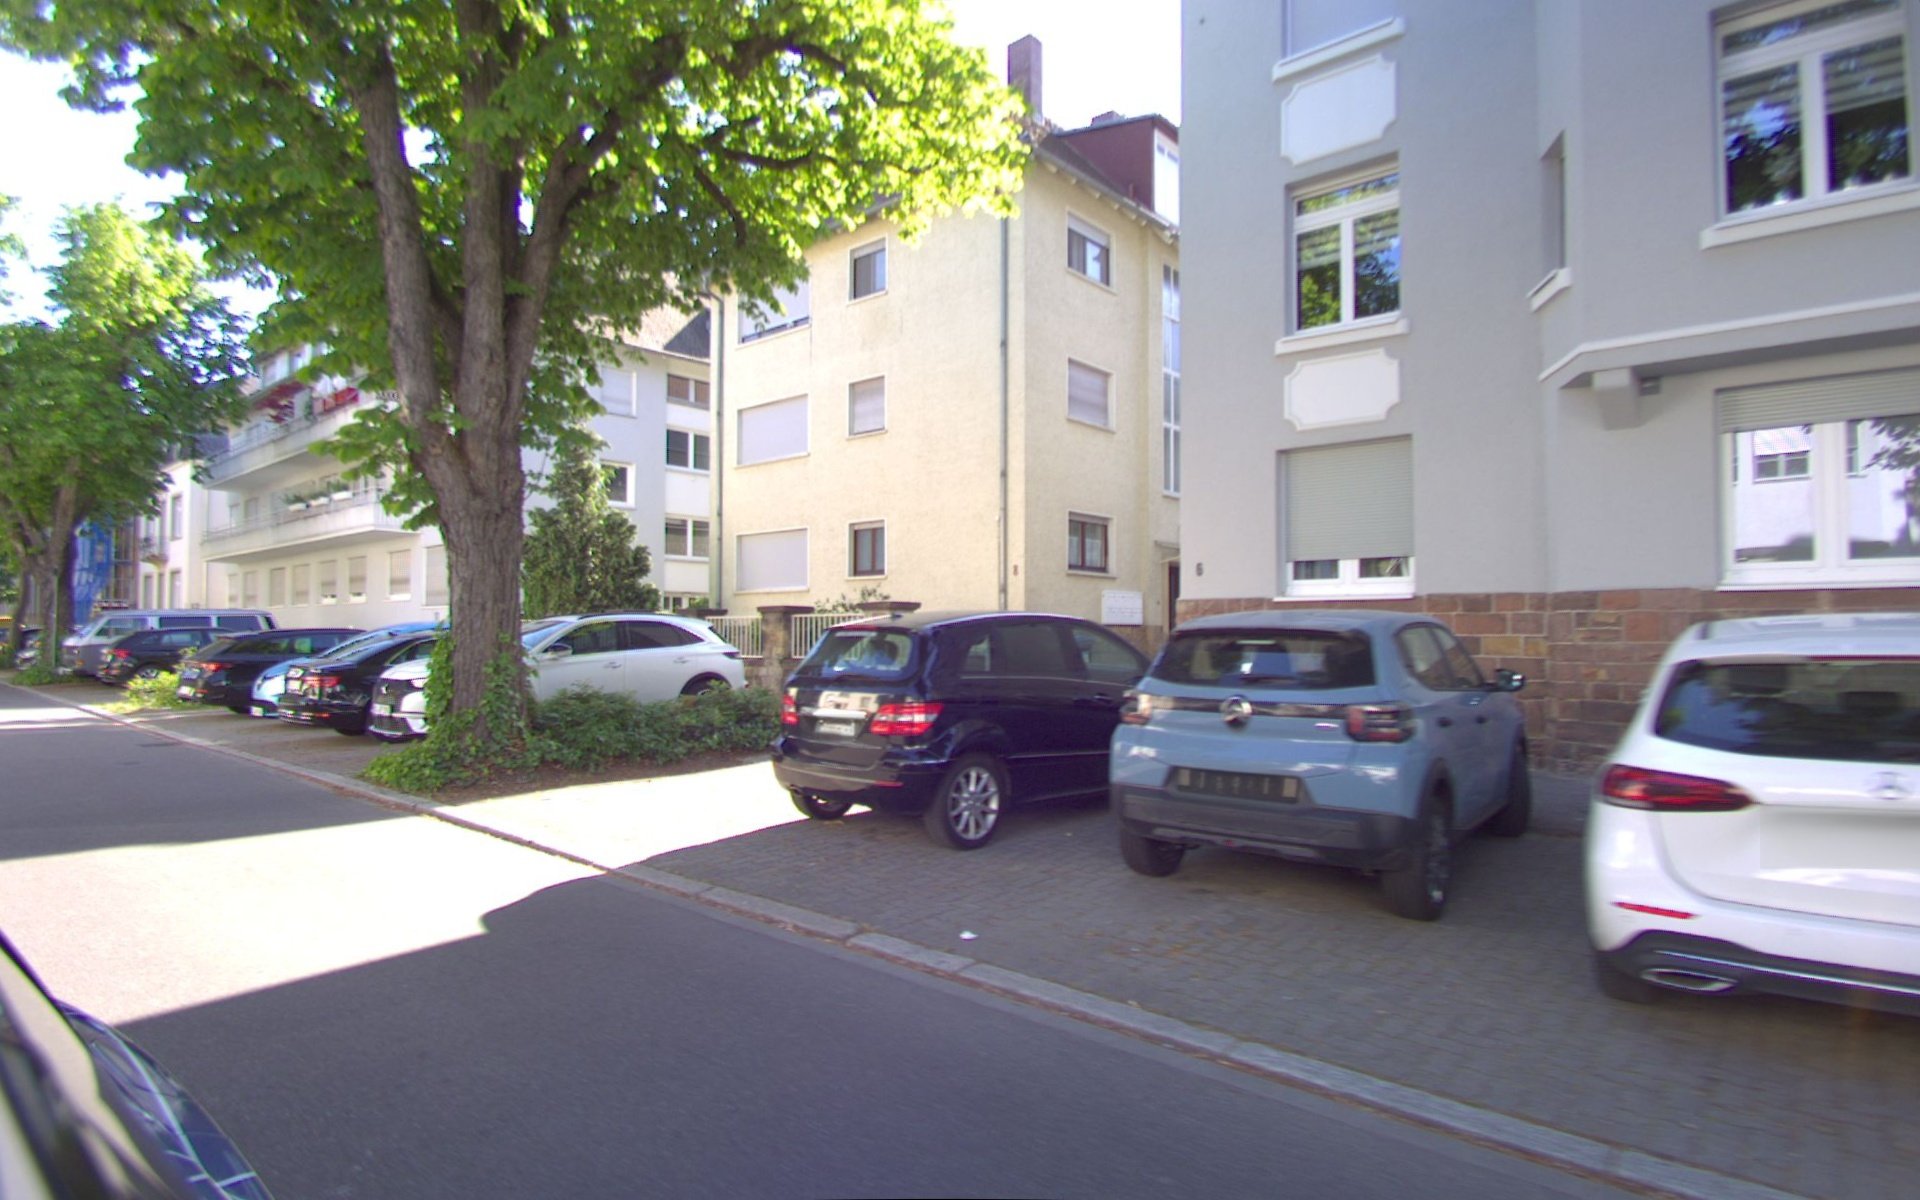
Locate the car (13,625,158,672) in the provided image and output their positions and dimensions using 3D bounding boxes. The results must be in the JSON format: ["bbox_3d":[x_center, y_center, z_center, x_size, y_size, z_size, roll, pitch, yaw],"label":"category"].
[{"bbox_3d":[-29.596,1.607,34.334,1.707,1.431,3.447,0,0,36],"label":"car"}]

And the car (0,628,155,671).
[{"bbox_3d":[-32.143,1.757,36.873,1.711,1.452,4.145,-1,-2,40],"label":"car"}]

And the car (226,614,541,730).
[{"bbox_3d":[-9.051,1.075,16.157,1.876,1.604,3.947,-1,-3,39],"label":"car"}]

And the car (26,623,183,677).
[{"bbox_3d":[-25.952,1.478,30.752,1.797,1.469,3.441,-1,-1,42],"label":"car"}]

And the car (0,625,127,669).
[{"bbox_3d":[-35.284,1.788,39.086,1.831,1.619,4.545,-1,-2,38],"label":"car"}]

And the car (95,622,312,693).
[{"bbox_3d":[-17.915,1.304,24.092,1.662,1.510,3.902,-2,-1,43],"label":"car"}]

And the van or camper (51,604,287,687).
[{"bbox_3d":[-20.085,1.125,25.859,1.963,1.929,4.450,-1,-2,41],"label":"van or camper"}]

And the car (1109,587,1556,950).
[{"bbox_3d":[2.543,0.761,6.388,1.767,1.587,3.484,-2,-1,36],"label":"car"}]

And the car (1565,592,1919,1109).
[{"bbox_3d":[4.096,0.721,4.469,1.805,1.496,3.982,-2,-1,40],"label":"car"}]

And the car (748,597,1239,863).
[{"bbox_3d":[0.445,0.794,8.085,1.848,1.587,3.820,-2,-1,44],"label":"car"}]

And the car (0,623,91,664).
[{"bbox_3d":[-38.587,1.781,41.722,1.827,1.525,3.841,-1,0,32],"label":"car"}]

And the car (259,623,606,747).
[{"bbox_3d":[-7.192,1.092,14.127,1.696,1.479,3.946,-2,-3,40],"label":"car"}]

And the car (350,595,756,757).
[{"bbox_3d":[-4.881,0.919,12.658,1.822,1.665,4.339,-4,-5,42],"label":"car"}]

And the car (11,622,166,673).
[{"bbox_3d":[-27.906,1.485,32.469,1.710,1.474,3.604,-1,-1,43],"label":"car"}]

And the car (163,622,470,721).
[{"bbox_3d":[-11.074,1.177,17.659,1.860,1.510,4.144,-1,-3,40],"label":"car"}]
